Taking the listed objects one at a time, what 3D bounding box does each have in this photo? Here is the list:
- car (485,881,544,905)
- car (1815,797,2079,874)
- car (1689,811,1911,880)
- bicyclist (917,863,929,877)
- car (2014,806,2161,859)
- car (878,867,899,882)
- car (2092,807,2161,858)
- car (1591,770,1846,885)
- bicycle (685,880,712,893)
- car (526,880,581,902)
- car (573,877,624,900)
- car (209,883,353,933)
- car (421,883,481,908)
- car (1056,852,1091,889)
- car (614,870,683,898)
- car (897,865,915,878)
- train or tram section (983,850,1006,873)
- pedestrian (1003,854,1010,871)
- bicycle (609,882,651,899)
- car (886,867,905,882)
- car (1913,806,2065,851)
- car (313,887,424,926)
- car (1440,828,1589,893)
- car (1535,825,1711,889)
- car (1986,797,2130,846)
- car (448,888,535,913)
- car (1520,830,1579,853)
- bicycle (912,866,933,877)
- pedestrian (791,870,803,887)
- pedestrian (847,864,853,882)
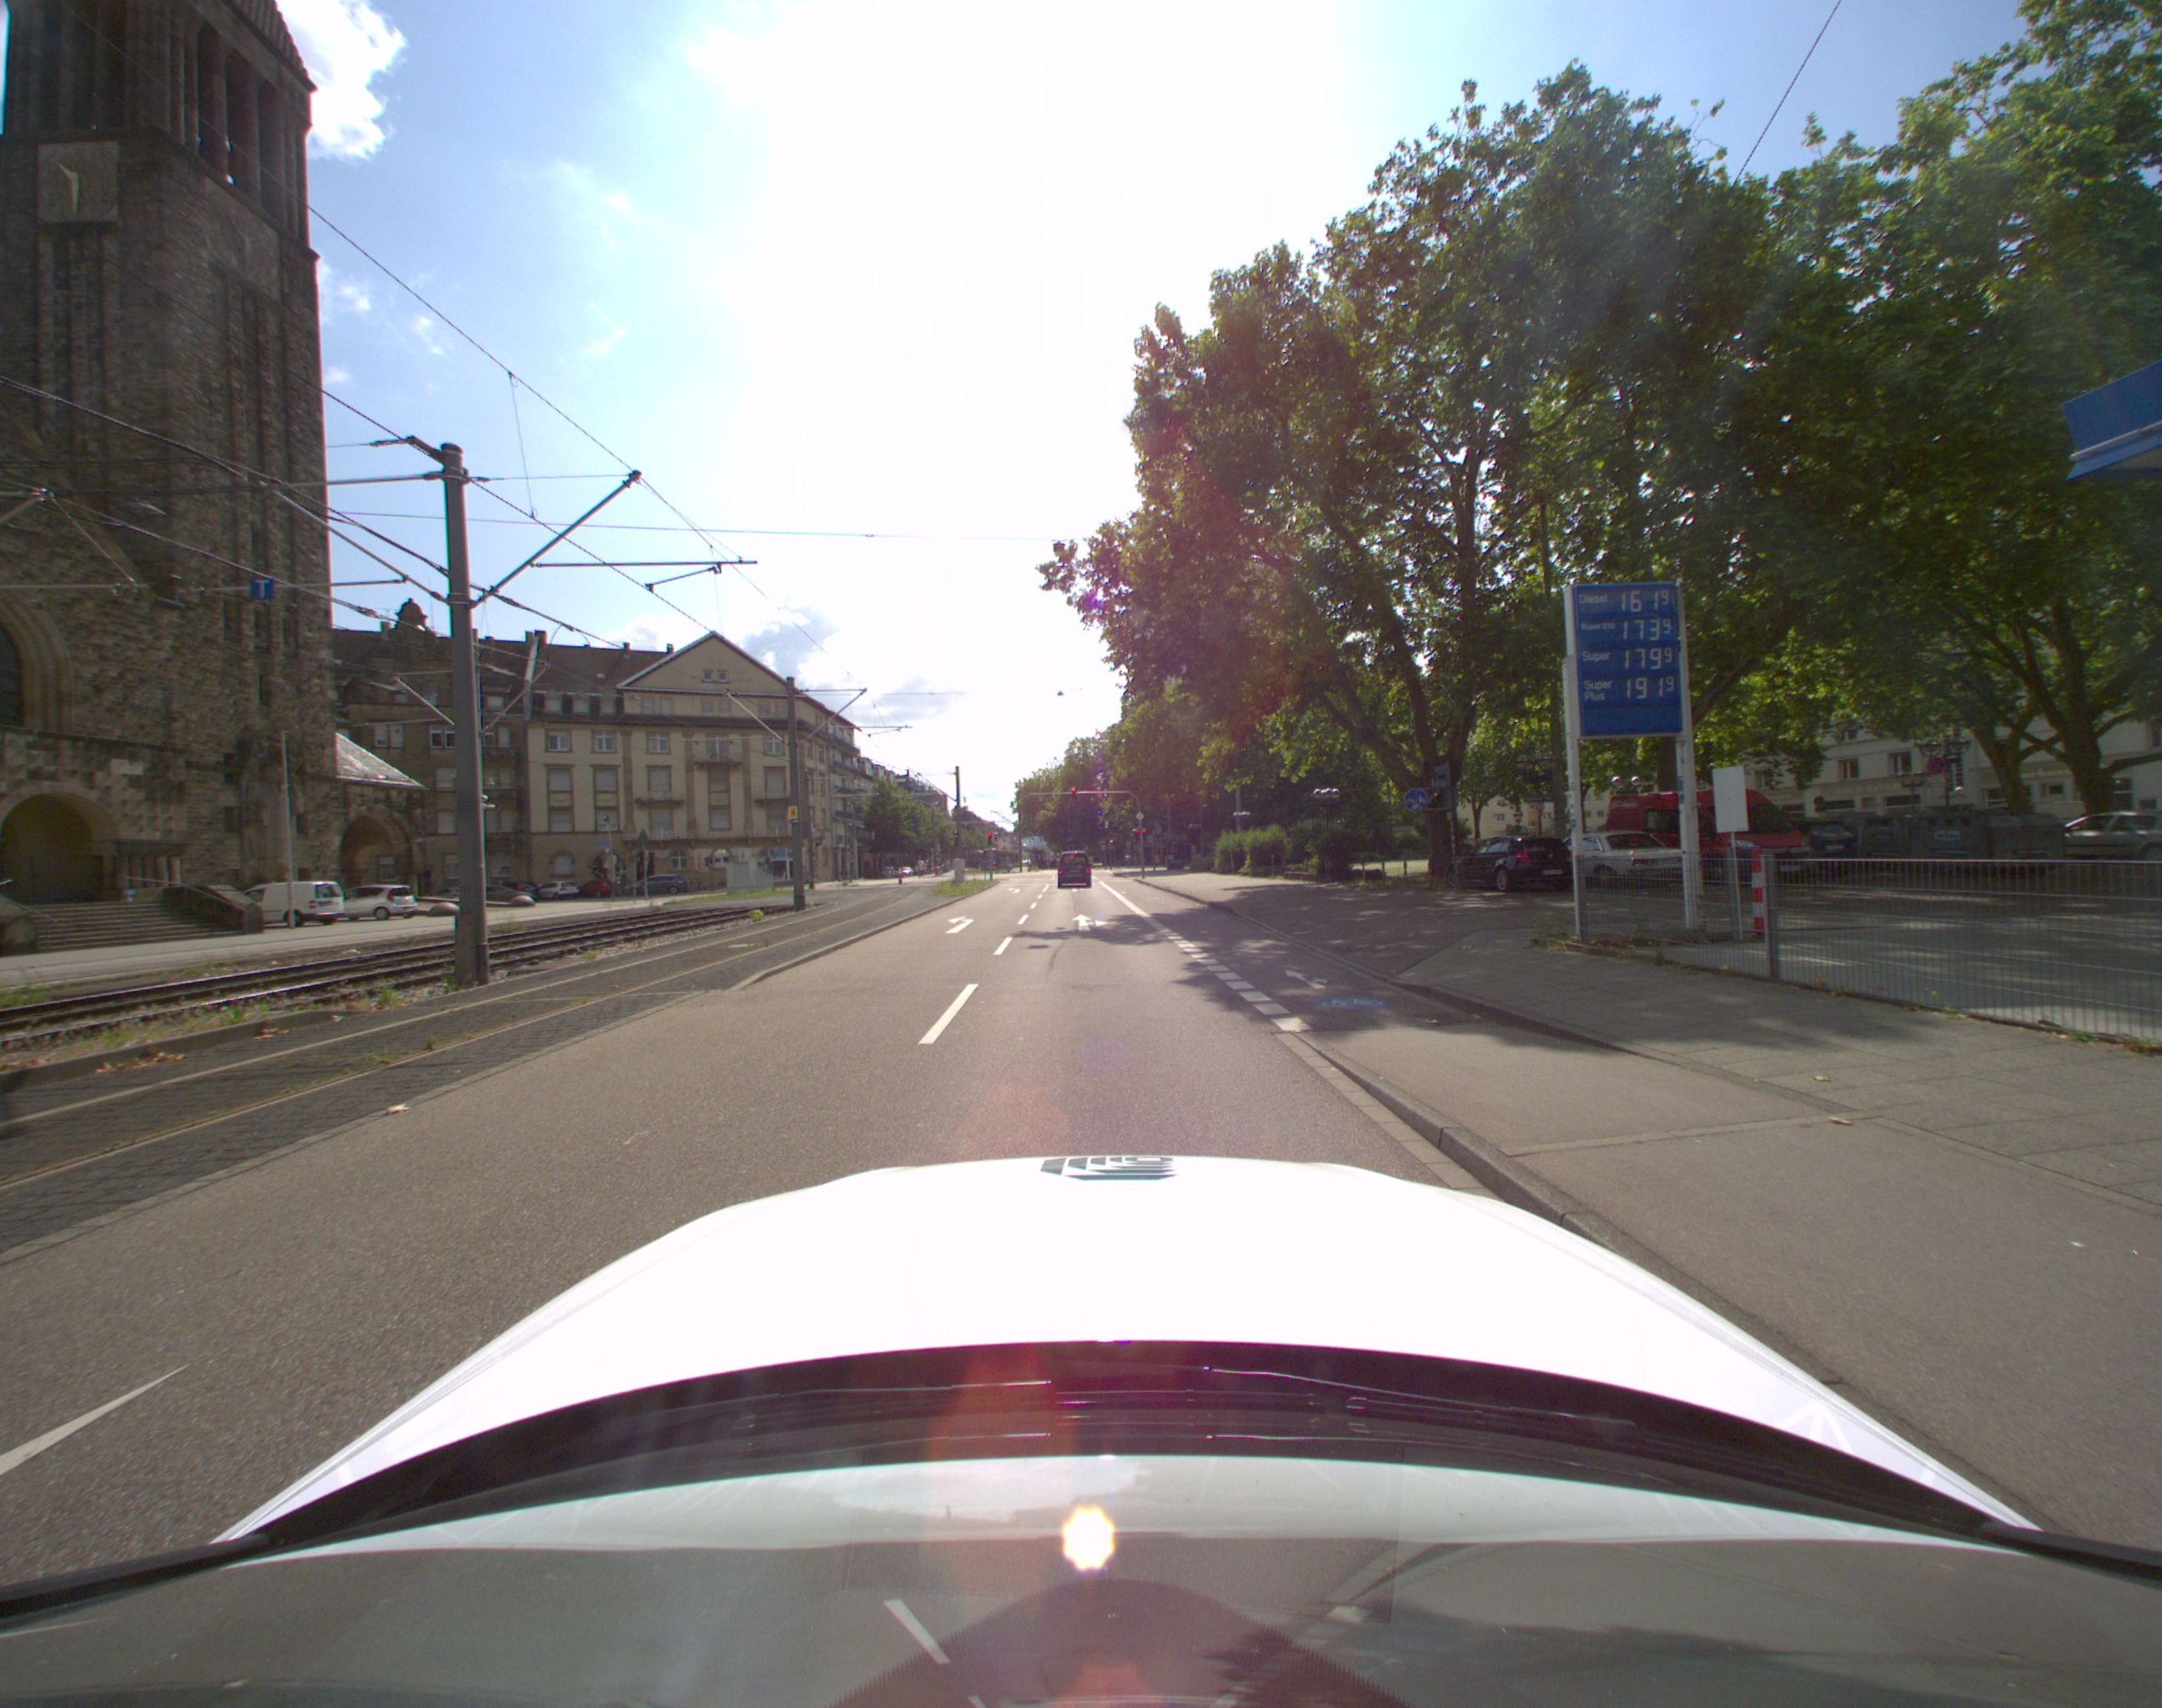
[{"bbox_3d":[-45.479,3.109,65.393,3.951,1.673,2.011,-3,0,23],"label":"car"},{"bbox_3d":[22.376,-0.433,21.388,1.999,1.754,4.652,-1,0,1],"label":"car"},{"bbox_3d":[19.398,-0.204,22.324,1.999,1.651,4.652,-1,0,1],"label":"car"},{"bbox_3d":[-16.732,1.694,86.146,0.988,1.511,0.785,-3,0,43],"label":"bicyclist"},{"bbox_3d":[28.464,-0.572,22.291,1.577,1.363,3.638,-1,0,-3],"label":"car"},{"bbox_3d":[-27.789,3.007,117.785,1.988,2.013,3.998,-3,0,-1],"label":"car"},{"bbox_3d":[30.649,-0.621,22.163,1.641,1.415,3.638,-1,0,-3],"label":"car"},{"bbox_3d":[16.729,-0.609,21.969,2.104,2.582,6.019,-3,0,1],"label":"car"},{"bbox_3d":[-34.029,2.874,72.504,0.798,1.053,2.574,-3,0,11],"label":"bicycle"},{"bbox_3d":[-43.302,3.022,66.889,3.951,1.639,1.813,-3,0,23],"label":"car"},{"bbox_3d":[-40.343,2.886,68.050,3.948,1.674,2.013,-3,0,31],"label":"car"},{"bbox_3d":[-33.119,2.218,33.806,3.863,1.748,1.892,-3,0,-4],"label":"car"},{"bbox_3d":[-49.235,3.216,63.642,3.951,1.735,2.011,-3,0,23],"label":"car"},{"bbox_3d":[-0.384,0.830,42.705,1.745,1.809,3.473,-1,0,-1],"label":"car"},{"bbox_3d":[-35.033,2.403,66.149,4.816,2.013,1.982,-3,0,-27],"label":"car"},{"bbox_3d":[-28.214,2.807,131.123,1.988,2.013,3.998,-3,0,-1],"label":"car"},{"bbox_3d":[-13.684,1.162,129.742,2.234,3.331,12.966,-3,0,-1],"label":"train or tram section"},{"bbox_3d":[-8.461,0.960,92.140,0.657,1.784,0.660,-3,-1,-1],"label":"pedestrian"},{"bbox_3d":[-38.323,3.091,69.178,3.285,1.253,1.003,-3,0,15],"label":"bicycle"},{"bbox_3d":[-27.889,3.043,122.622,1.988,2.013,3.998,-3,0,-1],"label":"car"},{"bbox_3d":[37.809,-1.036,33.999,4.140,1.636,1.999,-3,0,-1],"label":"car"},{"bbox_3d":[-32.398,2.352,37.106,3.258,1.502,1.852,-3,0,-3],"label":"car"},{"bbox_3d":[11.263,0.153,21.496,1.644,1.470,4.039,-3,0,-2],"label":"car"},{"bbox_3d":[13.951,0.075,21.280,1.646,1.429,4.036,-3,0,-5],"label":"car"},{"bbox_3d":[45.651,-1.486,38.123,4.242,2.013,2.076,-3,0,-1],"label":"car"},{"bbox_3d":[-40.878,3.216,56.573,4.578,1.436,1.692,-3,0,-25],"label":"car"},{"bbox_3d":[44.742,-1.191,77.880,4.400,2.013,2.077,-3,0,0],"label":"car"},{"bbox_3d":[-16.763,1.832,86.157,2.279,1.048,0.902,-3,0,43],"label":"bicycle"},{"bbox_3d":[-27.367,2.324,78.448,0.866,1.596,0.686,-2,-1,-40],"label":"pedestrian"},{"bbox_3d":[-26.348,2.179,92.932,0.476,2.013,0.419,-3,-1,-6],"label":"pedestrian"}]
